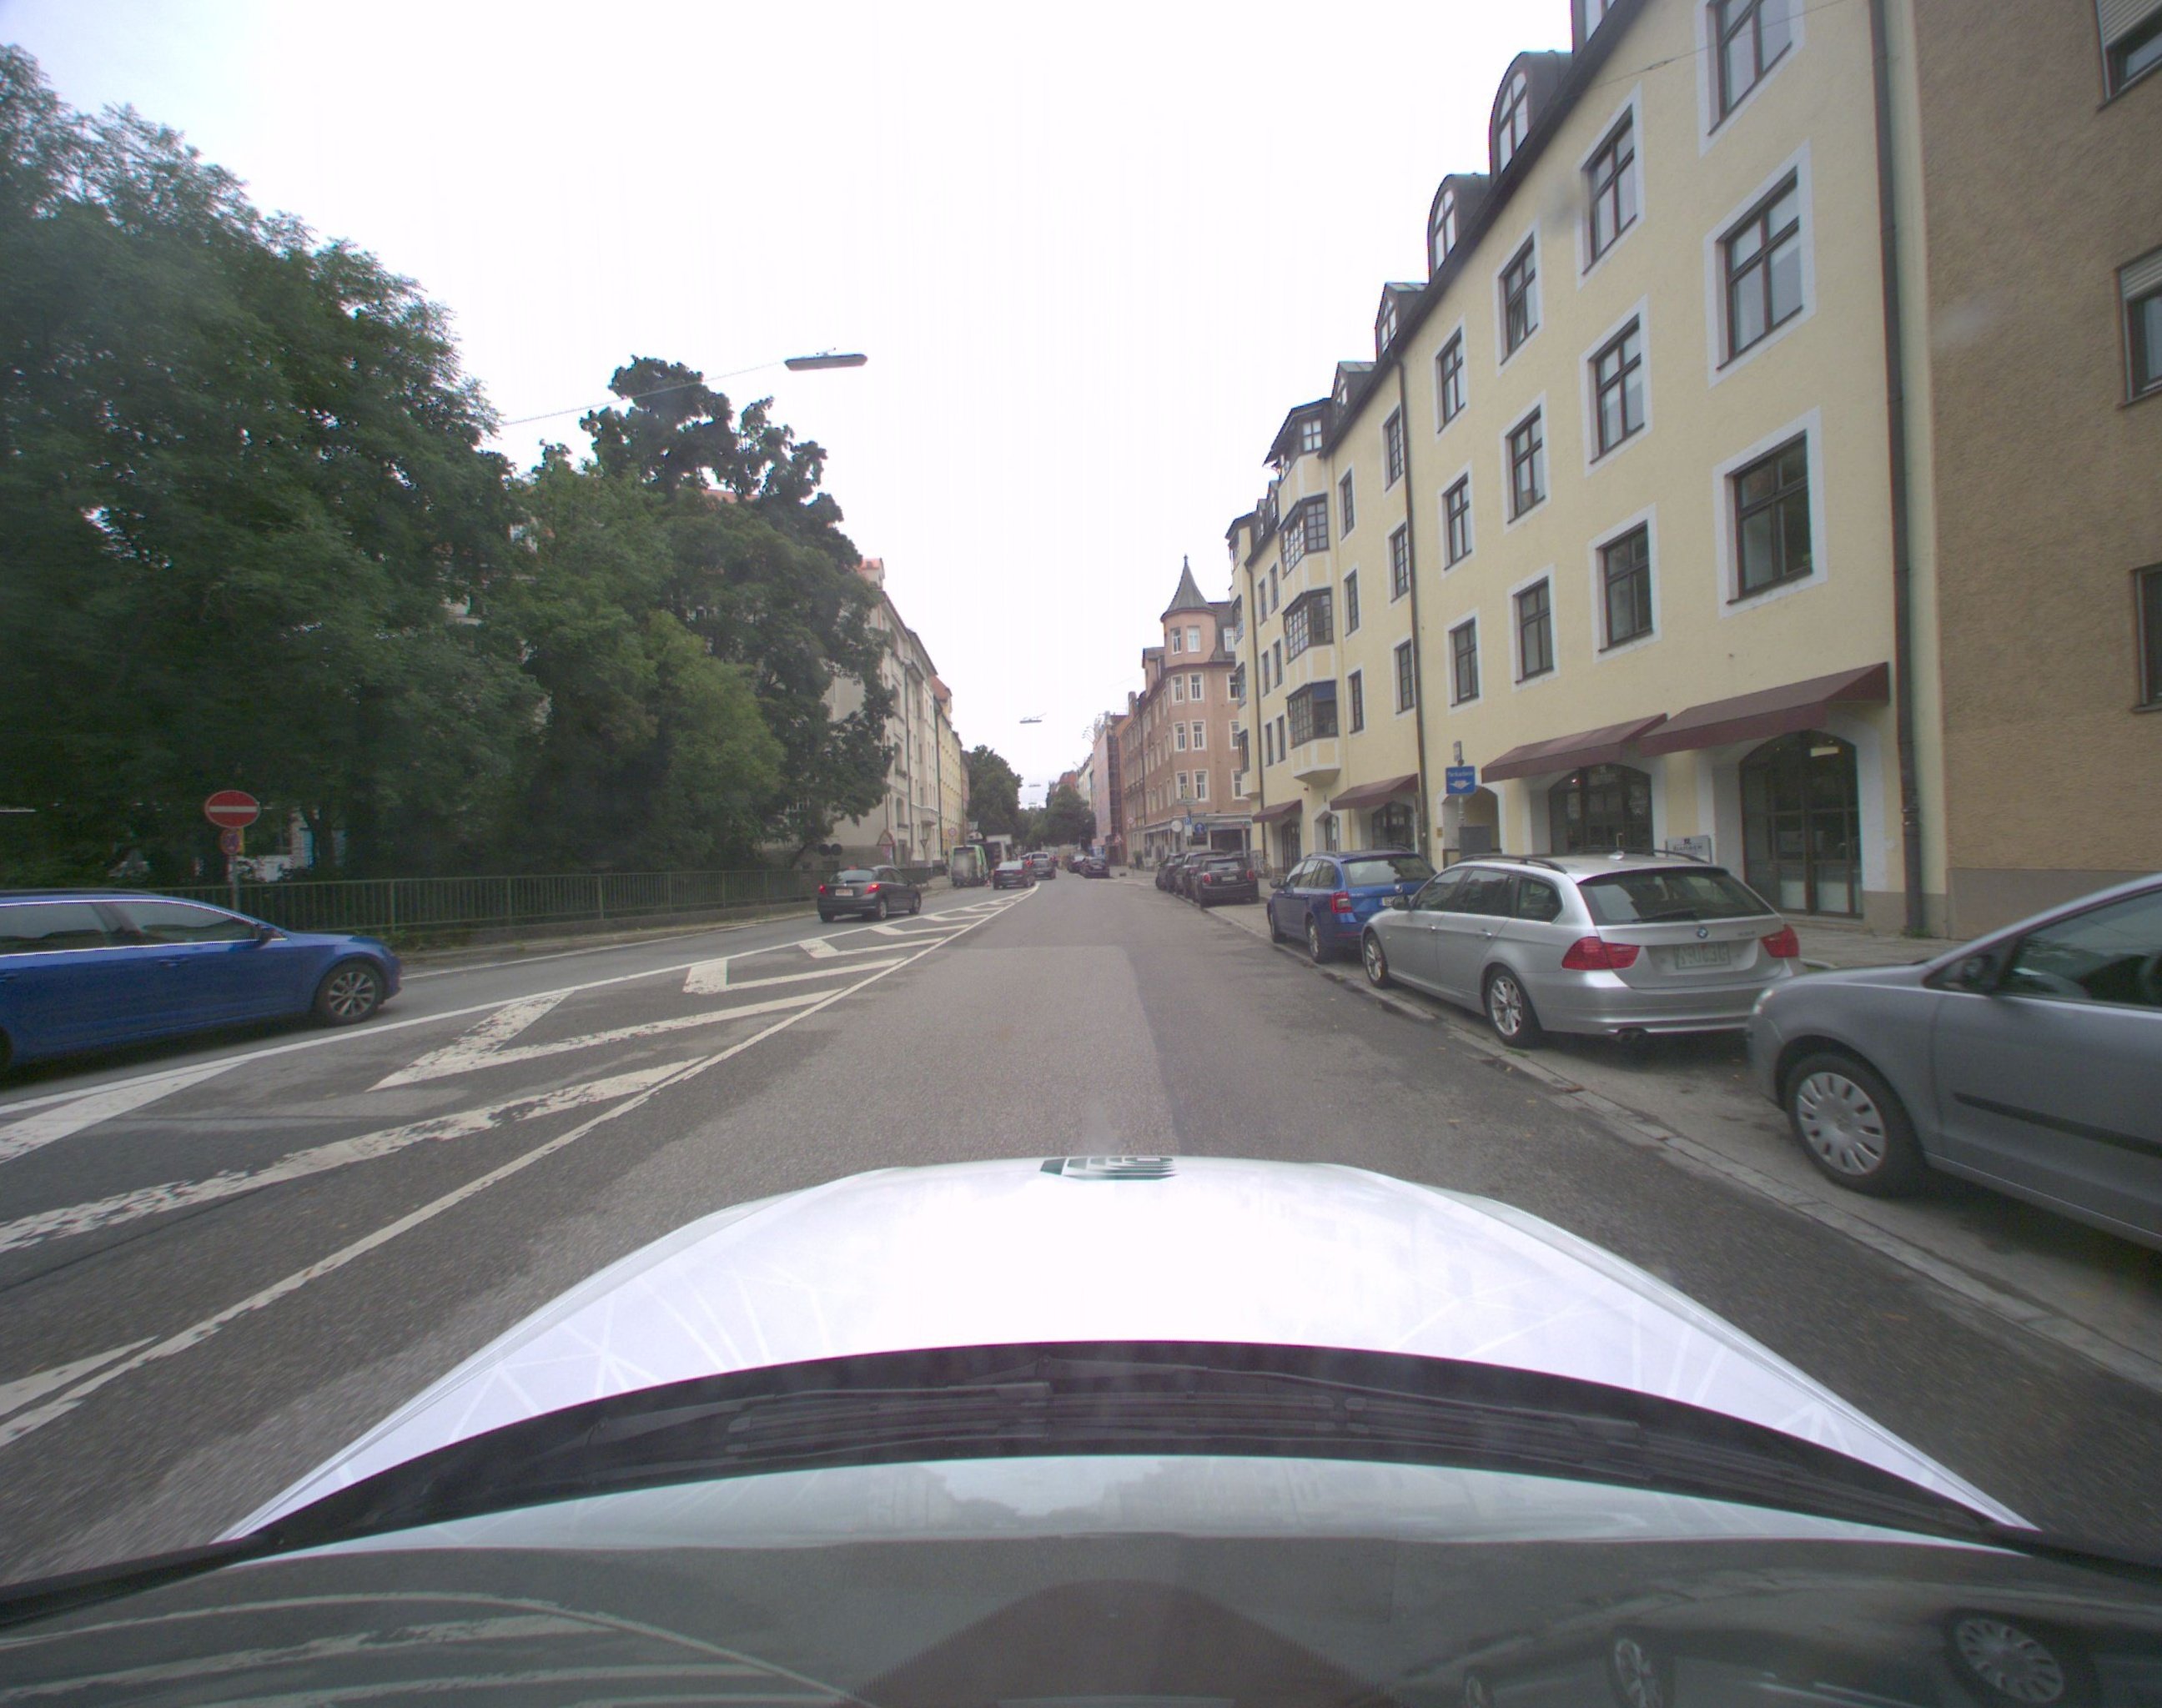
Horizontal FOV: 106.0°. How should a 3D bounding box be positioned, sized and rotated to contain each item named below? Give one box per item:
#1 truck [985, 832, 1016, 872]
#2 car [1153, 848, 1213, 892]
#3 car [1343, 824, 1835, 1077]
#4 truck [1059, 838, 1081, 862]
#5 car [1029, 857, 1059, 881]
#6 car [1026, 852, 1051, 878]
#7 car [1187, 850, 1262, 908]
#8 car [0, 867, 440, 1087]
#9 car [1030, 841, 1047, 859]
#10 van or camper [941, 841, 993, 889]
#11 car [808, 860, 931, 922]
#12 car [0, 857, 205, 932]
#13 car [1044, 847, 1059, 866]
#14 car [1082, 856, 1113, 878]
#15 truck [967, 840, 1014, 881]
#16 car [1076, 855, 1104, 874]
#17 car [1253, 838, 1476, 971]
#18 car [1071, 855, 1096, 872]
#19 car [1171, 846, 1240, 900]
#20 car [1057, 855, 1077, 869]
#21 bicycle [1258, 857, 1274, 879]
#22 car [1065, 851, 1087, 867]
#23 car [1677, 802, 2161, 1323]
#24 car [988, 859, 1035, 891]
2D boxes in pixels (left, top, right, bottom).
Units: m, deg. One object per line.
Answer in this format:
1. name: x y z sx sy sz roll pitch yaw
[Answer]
1. truck: -8.436 -0.196 86.169 3.007 3.951 6.984 -2 0 -4
2. car: 4.323 0.657 35.108 1.814 1.679 4.507 -4 0 -2
3. car: 3.941 0.618 7.394 1.684 1.496 4.435 -4 0 1
4. truck: -1.458 -0.442 106.500 2.487 2.973 5.320 -2 0 -4
5. car: -2.582 1.015 56.921 1.985 1.429 4.137 -3 1 -2
6. car: -3.642 0.896 70.310 1.985 2.075 4.137 -3 1 -2
7. car: 4.264 0.701 24.707 1.749 1.496 3.826 -4 0 4
8. car: -8.367 0.930 6.702 1.976 1.454 4.745 -3 0 8
9. car: -5.153 -0.500 98.332 1.989 2.013 3.995 -3 0 -4
10. van or camper: -7.241 0.622 52.577 2.594 2.840 6.180 -3 1 -2
11. car: -5.754 0.956 22.659 1.748 1.461 4.085 -3 0 9
12. car: -33.844 1.307 28.098 2.302 2.269 5.108 -3 0 -11
13. car: -4.027 0.342 113.315 1.934 2.480 4.780 -2 0 -1
14. car: 1.137 0.882 57.910 1.841 1.429 4.177 0 1 -4
15. truck: -6.903 0.436 63.142 2.765 2.873 7.200 -3 1 0
16. car: 0.676 0.812 63.910 1.841 1.429 4.134 0 1 -4
17. car: 3.927 0.621 12.156 1.750 1.496 4.488 -4 0 1
18. car: 0.192 0.839 72.539 1.841 1.429 4.300 0 1 -4
19. car: 4.440 0.647 29.700 1.750 1.679 4.707 -4 0 1
20. car: -1.588 0.882 90.214 1.985 1.429 4.137 -3 1 -2
21. bicycle: 8.511 0.631 37.466 0.270 0.977 1.683 -1 0 -2
22. car: -0.527 0.470 80.424 1.985 1.429 4.137 -3 1 -2
23. car: 3.937 0.575 2.355 1.622 1.496 3.787 -4 0 1
24. car: -3.713 1.102 44.393 1.983 1.429 4.906 -3 1 1
